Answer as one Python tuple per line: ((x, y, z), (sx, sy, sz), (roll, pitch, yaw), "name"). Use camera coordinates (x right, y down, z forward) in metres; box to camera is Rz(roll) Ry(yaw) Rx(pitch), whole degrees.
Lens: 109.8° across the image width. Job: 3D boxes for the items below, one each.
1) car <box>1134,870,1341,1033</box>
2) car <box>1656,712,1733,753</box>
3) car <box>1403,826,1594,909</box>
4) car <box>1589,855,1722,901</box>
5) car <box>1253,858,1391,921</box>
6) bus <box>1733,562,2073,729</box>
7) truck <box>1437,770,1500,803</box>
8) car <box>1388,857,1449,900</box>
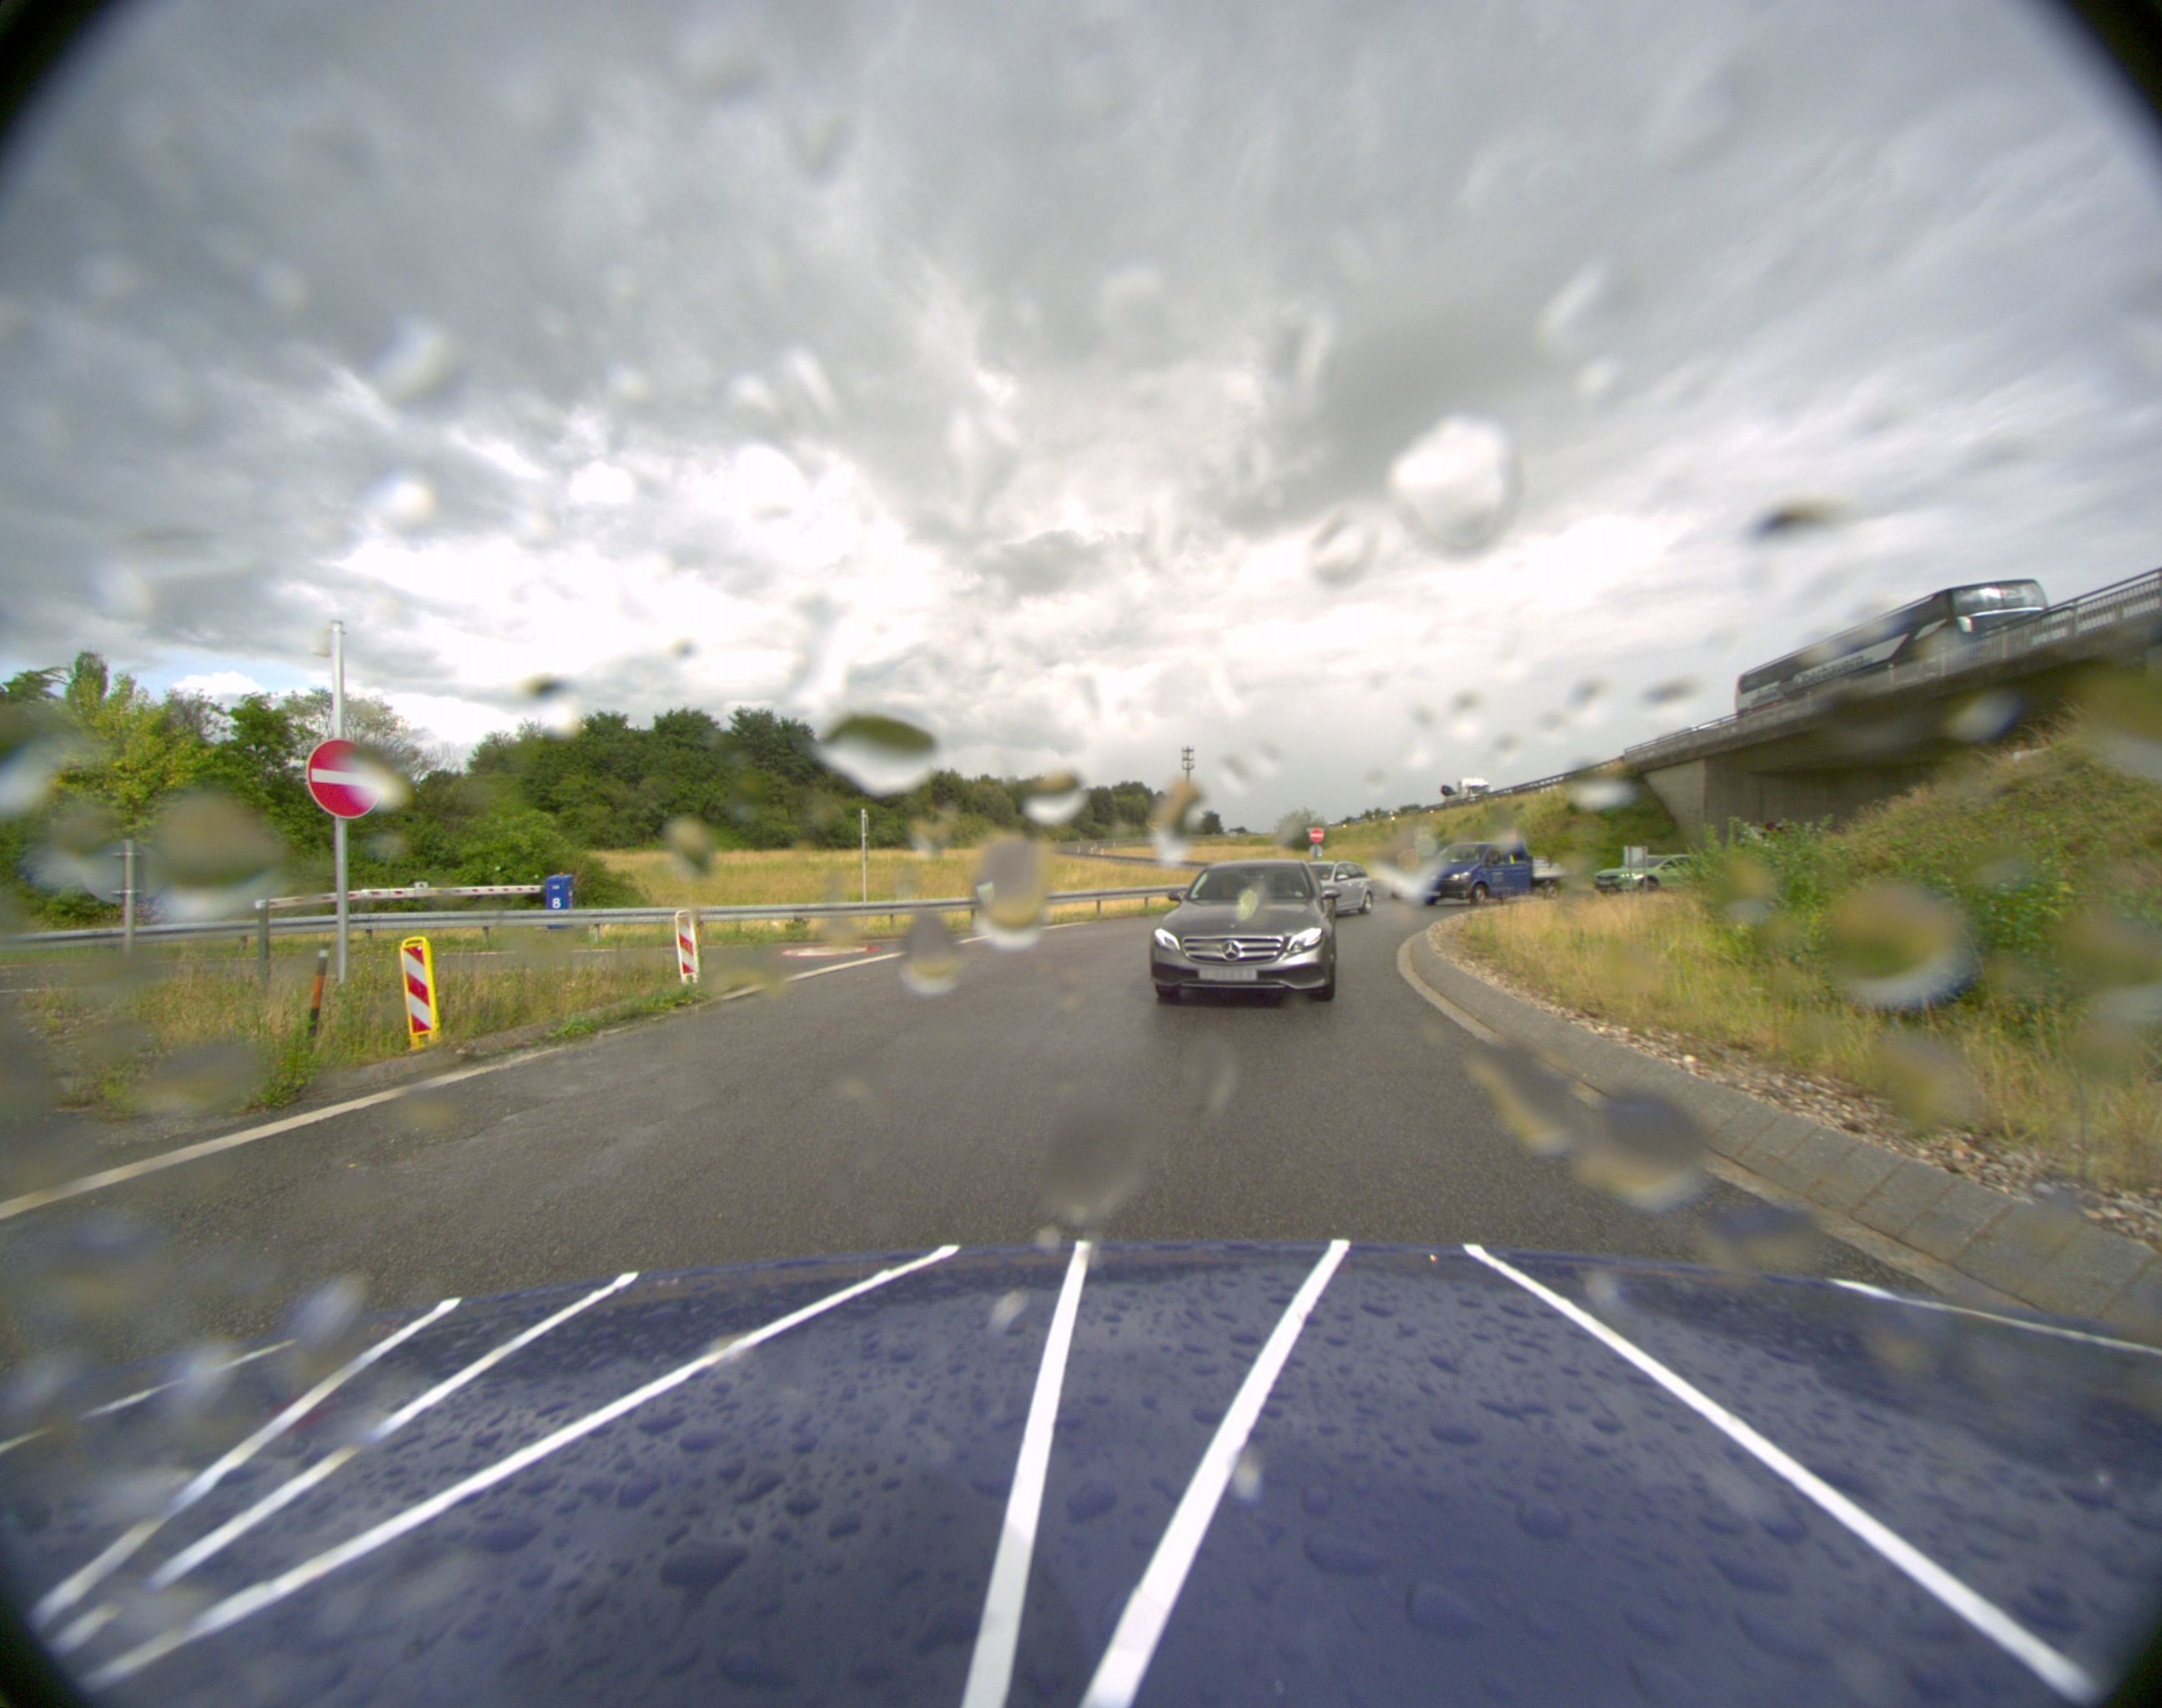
((2.149, 0.933, 9.202), (1.768, 1.383, 4.598), (-2, -1, 20), "car")
((37.295, -7.326, 46.358), (1.711, 1.517, 4.497), (-12, -2, 14), "car")
((12.949, 0.382, 23.517), (5.686, 1.904, 1.890), (-6, 1, -22), "car")
((20.183, 0.816, 26.738), (3.930, 1.528, 1.571), (0, 0, -13), "car")
((6.211, 0.861, 19.285), (1.793, 1.390, 4.360), (0, -1, 40), "car")
((32.360, -7.812, 31.403), (2.608, 3.062, 14.480), (-2, 1, 17), "bus")
((47.070, -8.102, 92.628), (3.158, 3.176, 9.280), (-2, 1, 2), "truck")
((12.431, 0.850, 28.169), (1.771, 1.476, 3.839), (0, 0, 20), "car")
